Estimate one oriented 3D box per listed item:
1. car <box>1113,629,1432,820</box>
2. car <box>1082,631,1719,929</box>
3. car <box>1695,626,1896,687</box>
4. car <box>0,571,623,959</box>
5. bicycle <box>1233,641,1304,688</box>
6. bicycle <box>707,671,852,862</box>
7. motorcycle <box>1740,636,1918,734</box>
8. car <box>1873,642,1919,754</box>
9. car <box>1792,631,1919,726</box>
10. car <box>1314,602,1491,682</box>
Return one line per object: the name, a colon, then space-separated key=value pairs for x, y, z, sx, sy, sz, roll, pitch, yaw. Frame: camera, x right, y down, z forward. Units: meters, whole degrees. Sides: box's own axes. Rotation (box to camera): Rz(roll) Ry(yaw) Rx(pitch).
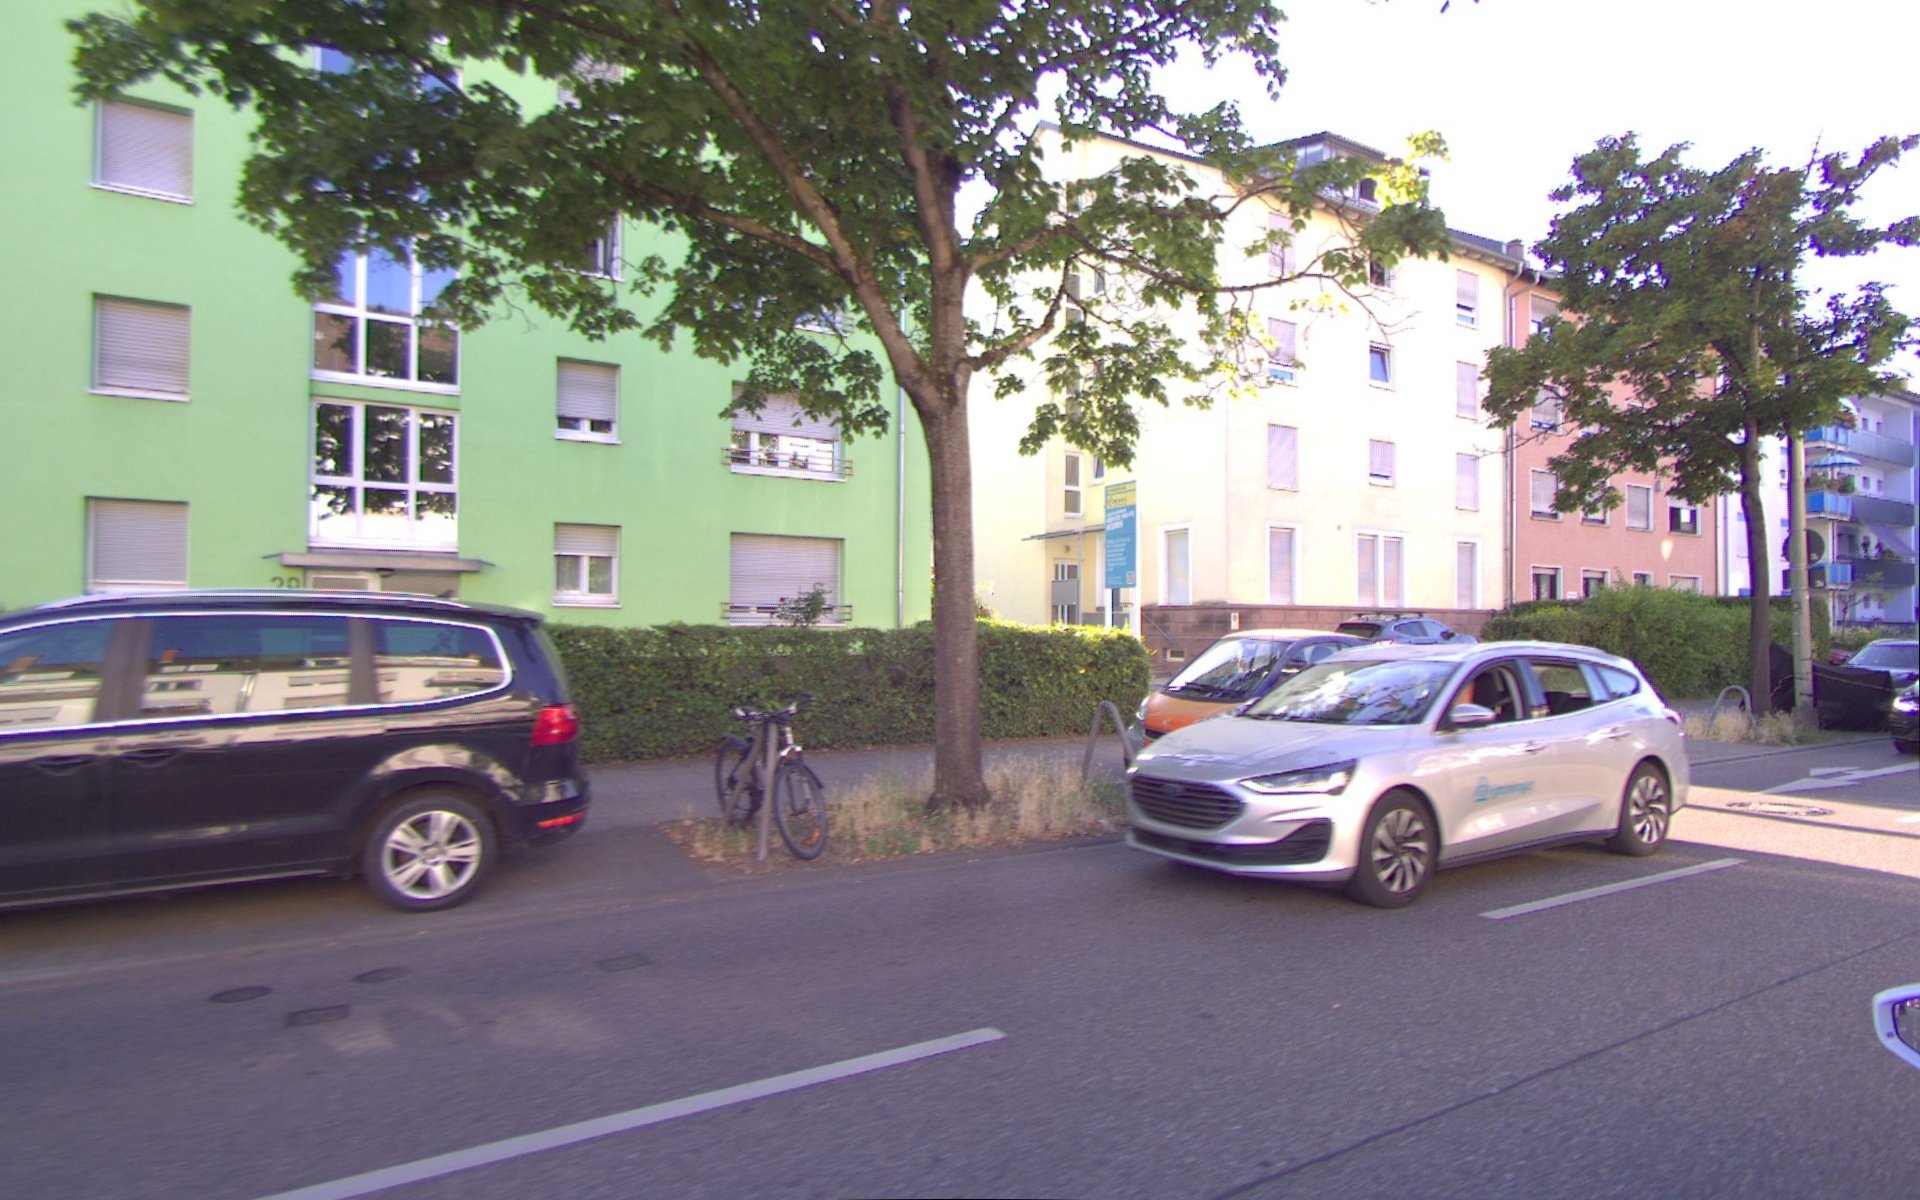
car: x=3.113 y=1.117 z=10.009 sx=2.825 sy=1.638 sz=1.494 roll=1 pitch=-1 yaw=-27
car: x=3.163 y=1.006 z=6.995 sx=4.400 sy=1.489 sz=1.824 roll=1 pitch=-4 yaw=-31
car: x=23.545 y=1.542 z=28.467 sx=1.893 sy=1.432 sz=3.968 roll=1 pitch=0 yaw=-29
car: x=-4.399 y=0.776 z=5.557 sx=4.562 sy=1.755 sz=1.776 roll=1 pitch=-2 yaw=-30
bicycle: x=7.652 y=1.585 z=24.870 sx=1.975 sy=1.103 sz=0.482 roll=1 pitch=-1 yaw=-30
bicycle: x=-1.358 y=1.130 z=7.308 sx=0.553 sy=1.104 sz=1.668 roll=1 pitch=0 yaw=-28
motorcycle: x=14.121 y=1.347 z=16.416 sx=1.991 sy=1.407 sz=0.989 roll=2 pitch=0 yaw=28
car: x=14.062 y=1.253 z=13.390 sx=3.981 sy=1.422 sz=1.692 roll=1 pitch=-4 yaw=-31
car: x=17.221 y=1.348 z=18.315 sx=4.535 sy=1.524 sz=1.770 roll=1 pitch=-1 yaw=-31
car: x=10.253 y=0.960 z=23.224 sx=3.954 sy=1.705 sz=1.818 roll=2 pitch=-2 yaw=-31
